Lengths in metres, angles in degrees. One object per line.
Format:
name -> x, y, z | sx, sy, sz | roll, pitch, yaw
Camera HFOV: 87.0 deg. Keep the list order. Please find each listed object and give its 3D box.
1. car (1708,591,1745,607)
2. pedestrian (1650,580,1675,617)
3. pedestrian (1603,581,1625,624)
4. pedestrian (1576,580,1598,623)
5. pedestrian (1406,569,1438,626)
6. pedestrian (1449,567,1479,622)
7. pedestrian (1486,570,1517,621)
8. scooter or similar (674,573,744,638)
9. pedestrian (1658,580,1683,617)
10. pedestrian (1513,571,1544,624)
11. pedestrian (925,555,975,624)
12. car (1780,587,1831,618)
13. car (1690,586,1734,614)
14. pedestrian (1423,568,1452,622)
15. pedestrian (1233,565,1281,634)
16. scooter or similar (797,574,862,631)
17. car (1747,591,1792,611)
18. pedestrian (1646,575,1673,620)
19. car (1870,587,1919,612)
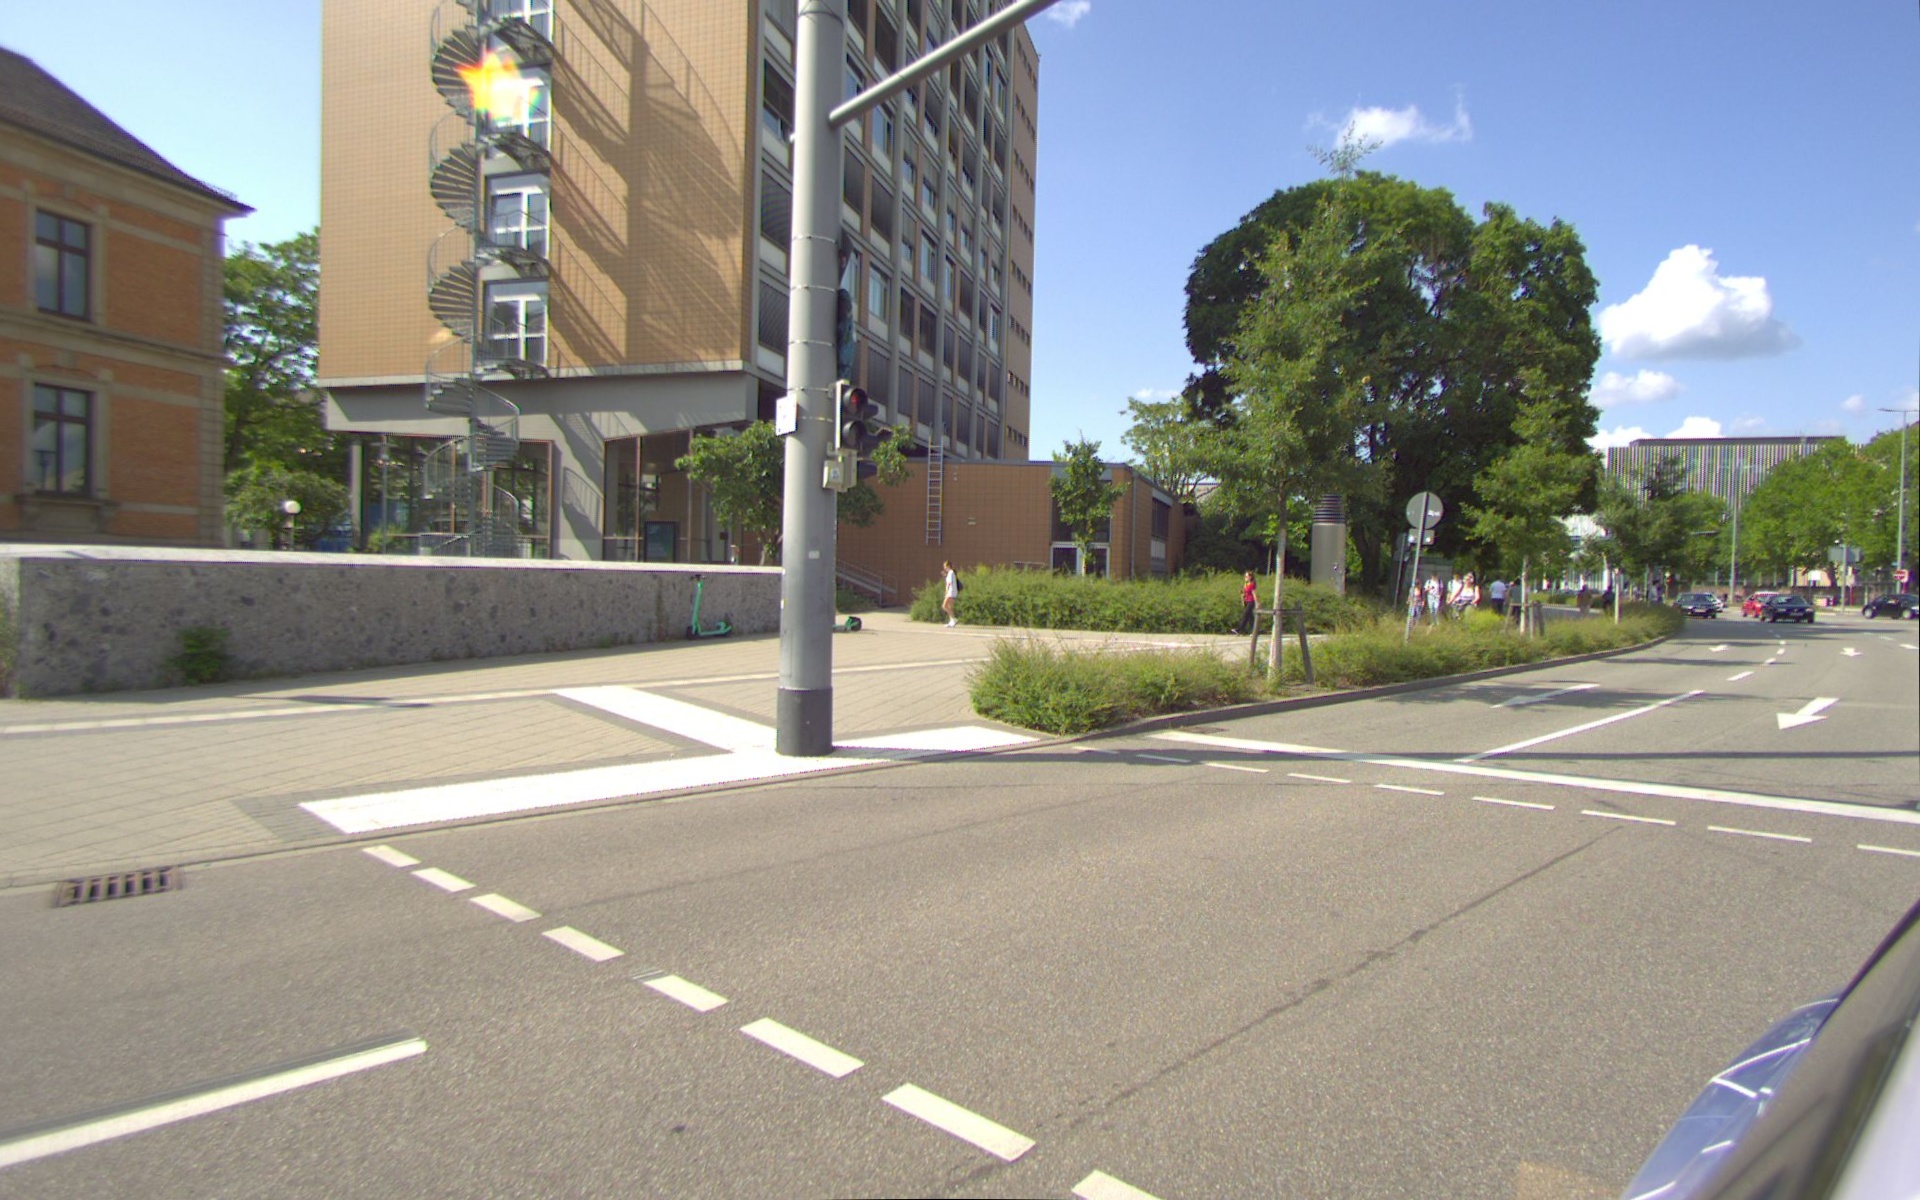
car -> 54.755, -0.091, 72.323 | 1.897, 1.148, 4.051 | 1, 1, 35
pedestrian -> 33.541, -0.061, 48.317 | 0.924, 1.756, 0.757 | 0, 0, 40
pedestrian -> 27.384, 0.108, 42.367 | 0.763, 1.756, 0.710 | 0, 0, 34
pedestrian -> 26.272, 0.054, 42.411 | 0.763, 1.756, 0.710 | 0, 0, 34
pedestrian -> 13.855, -0.084, 30.335 | 0.612, 1.642, 0.878 | 5, 4, 37
pedestrian -> 16.314, -0.205, 32.764 | 0.612, 1.720, 0.878 | 5, 4, 37
pedestrian -> 19.323, -0.168, 36.106 | 0.740, 1.767, 0.878 | 5, 4, 37
scooter or similar -> -4.552, 0.083, 18.457 | 0.461, 1.132, 1.436 | 3, 2, 22
pedestrian -> 34.210, -0.096, 48.753 | 0.924, 1.756, 0.757 | 0, 0, 40
pedestrian -> 19.984, -0.109, 35.589 | 0.740, 1.775, 0.878 | 5, 4, 36
pedestrian -> -0.259, -0.277, 25.577 | 1.081, 1.642, 0.613 | 3, 3, 15
car -> 42.674, 0.093, 51.138 | 1.817, 1.481, 3.946 | 1, 1, 38
car -> 42.939, -0.020, 57.751 | 1.819, 1.481, 3.942 | 1, 1, 40
pedestrian -> 15.670, -0.185, 33.202 | 0.612, 1.720, 0.878 | 5, 4, 37
pedestrian -> 7.349, -0.013, 25.029 | 0.871, 1.642, 0.617 | 1, 3, -23
scooter or similar -> -2.712, 0.045, 21.116 | 1.293, 1.117, 0.466 | 2, 1, -3
car -> 48.886, 0.047, 61.196 | 1.585, 1.148, 3.590 | 0, 0, 30
pedestrian -> 31.990, -0.125, 46.287 | 0.961, 2.039, 0.757 | 0, 0, 40
car -> 53.831, -0.016, 56.860 | 1.698, 1.351, 3.795 | 0, 1, -9
